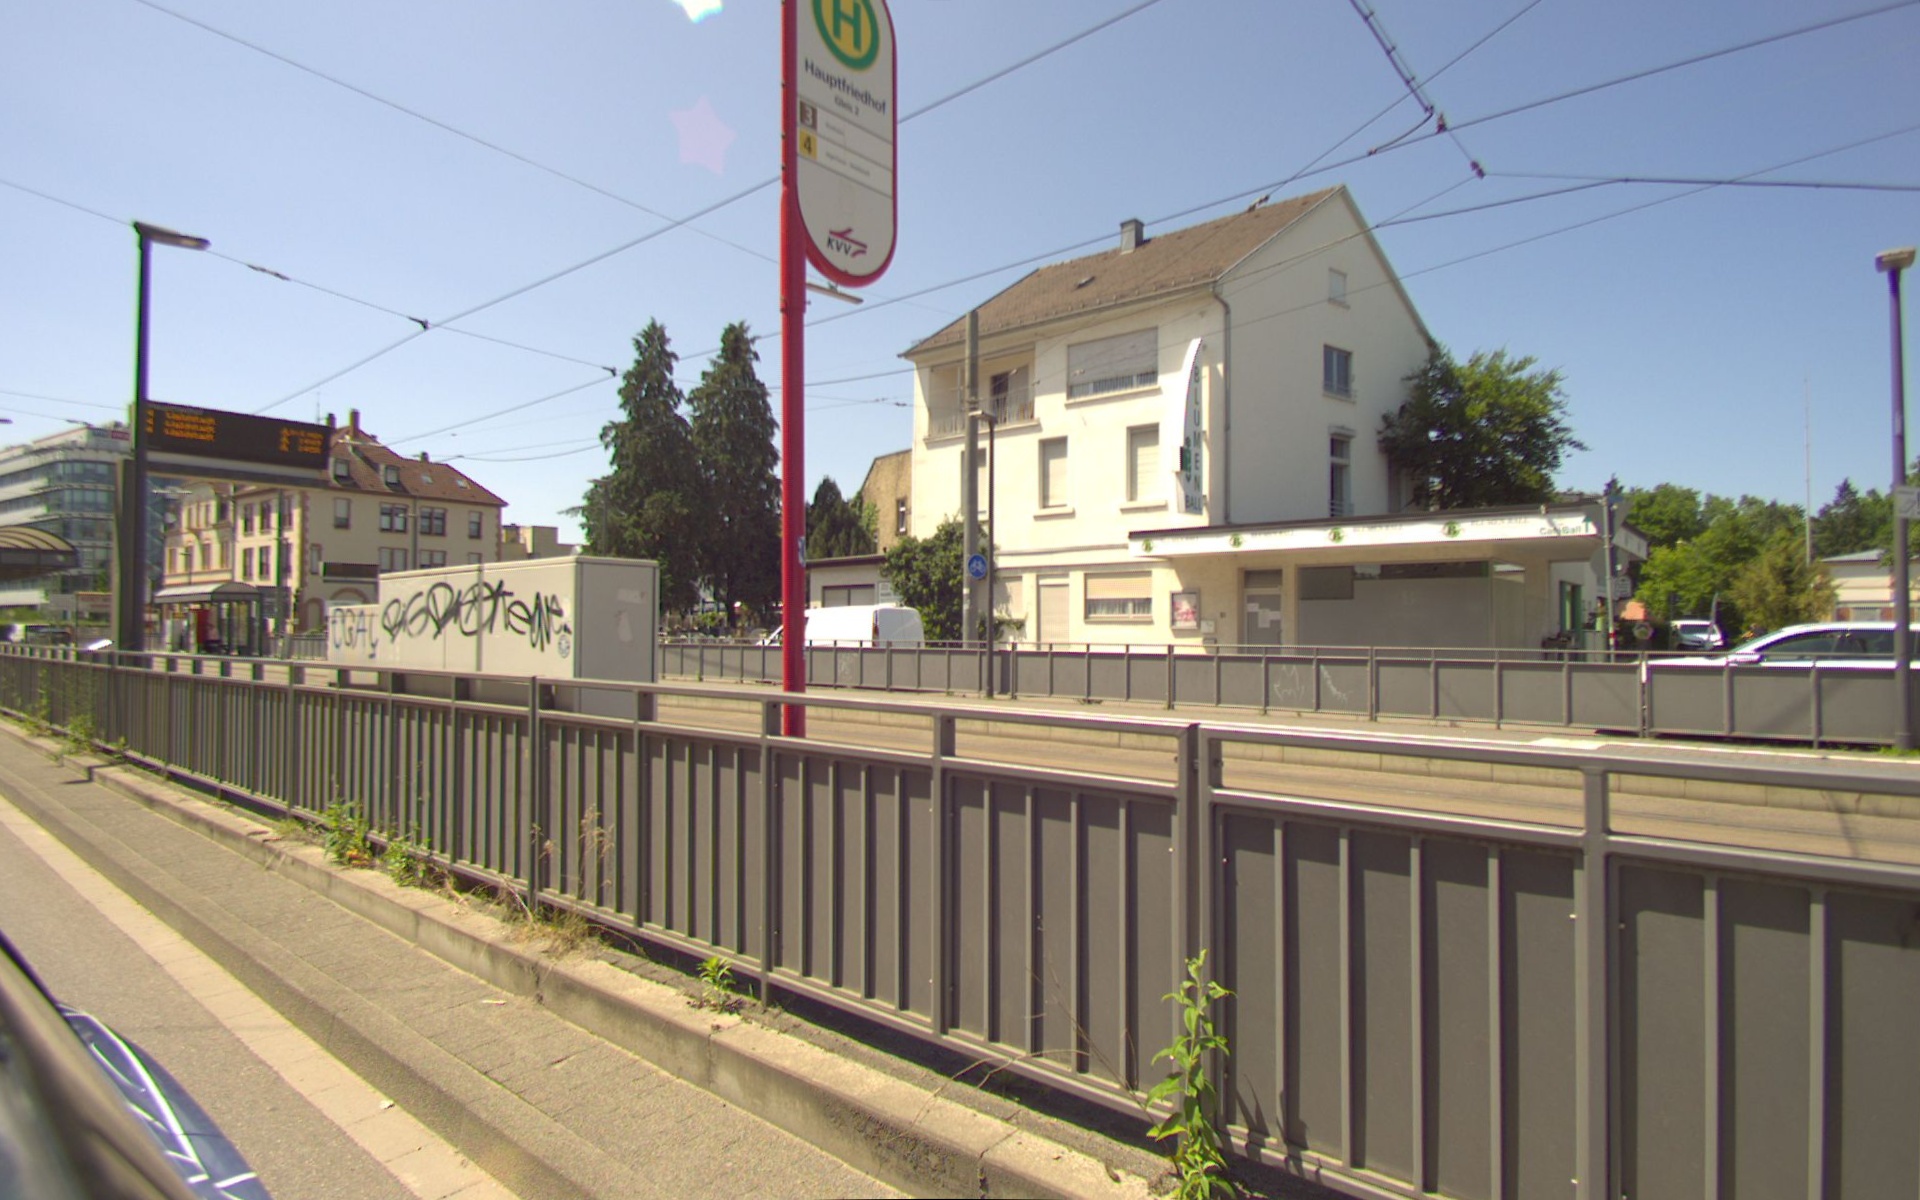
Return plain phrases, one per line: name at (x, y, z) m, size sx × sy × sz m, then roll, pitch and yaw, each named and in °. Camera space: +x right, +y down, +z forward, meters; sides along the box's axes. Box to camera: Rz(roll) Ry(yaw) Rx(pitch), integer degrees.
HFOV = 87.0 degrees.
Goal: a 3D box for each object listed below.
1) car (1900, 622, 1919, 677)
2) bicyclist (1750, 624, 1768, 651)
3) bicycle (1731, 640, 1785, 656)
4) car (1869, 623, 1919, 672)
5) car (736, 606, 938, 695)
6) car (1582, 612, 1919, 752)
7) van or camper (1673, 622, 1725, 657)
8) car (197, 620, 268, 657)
car at (25.797, 1.300, 26.476) m, size 1.644 × 1.381 × 3.760 m, roll -2°, pitch -3°, yaw 42°
bicyclist at (42.793, 2.000, 54.231) m, size 0.612 × 1.446 × 0.531 m, roll 1°, pitch -2°, yaw -29°
bicycle at (42.767, 2.573, 54.240) m, size 0.608 × 0.793 × 2.200 m, roll 1°, pitch -2°, yaw -29°
car at (29.499, 1.489, 31.537) m, size 1.644 × 1.457 × 3.761 m, roll -2°, pitch -3°, yaw 41°
car at (-2.874, 1.112, 23.072) m, size 4.693 × 1.830 × 1.837 m, roll -1°, pitch -3°, yaw 40°
car at (10.160, 0.916, 11.917) m, size 4.620 × 1.479 × 1.799 m, roll -1°, pitch -3°, yaw 41°
van or camper at (34.809, 1.848, 47.758) m, size 1.686 × 1.578 × 3.784 m, roll -1°, pitch -2°, yaw 32°
car at (-37.701, 1.995, 52.432) m, size 3.996 × 1.852 × 1.974 m, roll -2°, pitch -2°, yaw 39°
